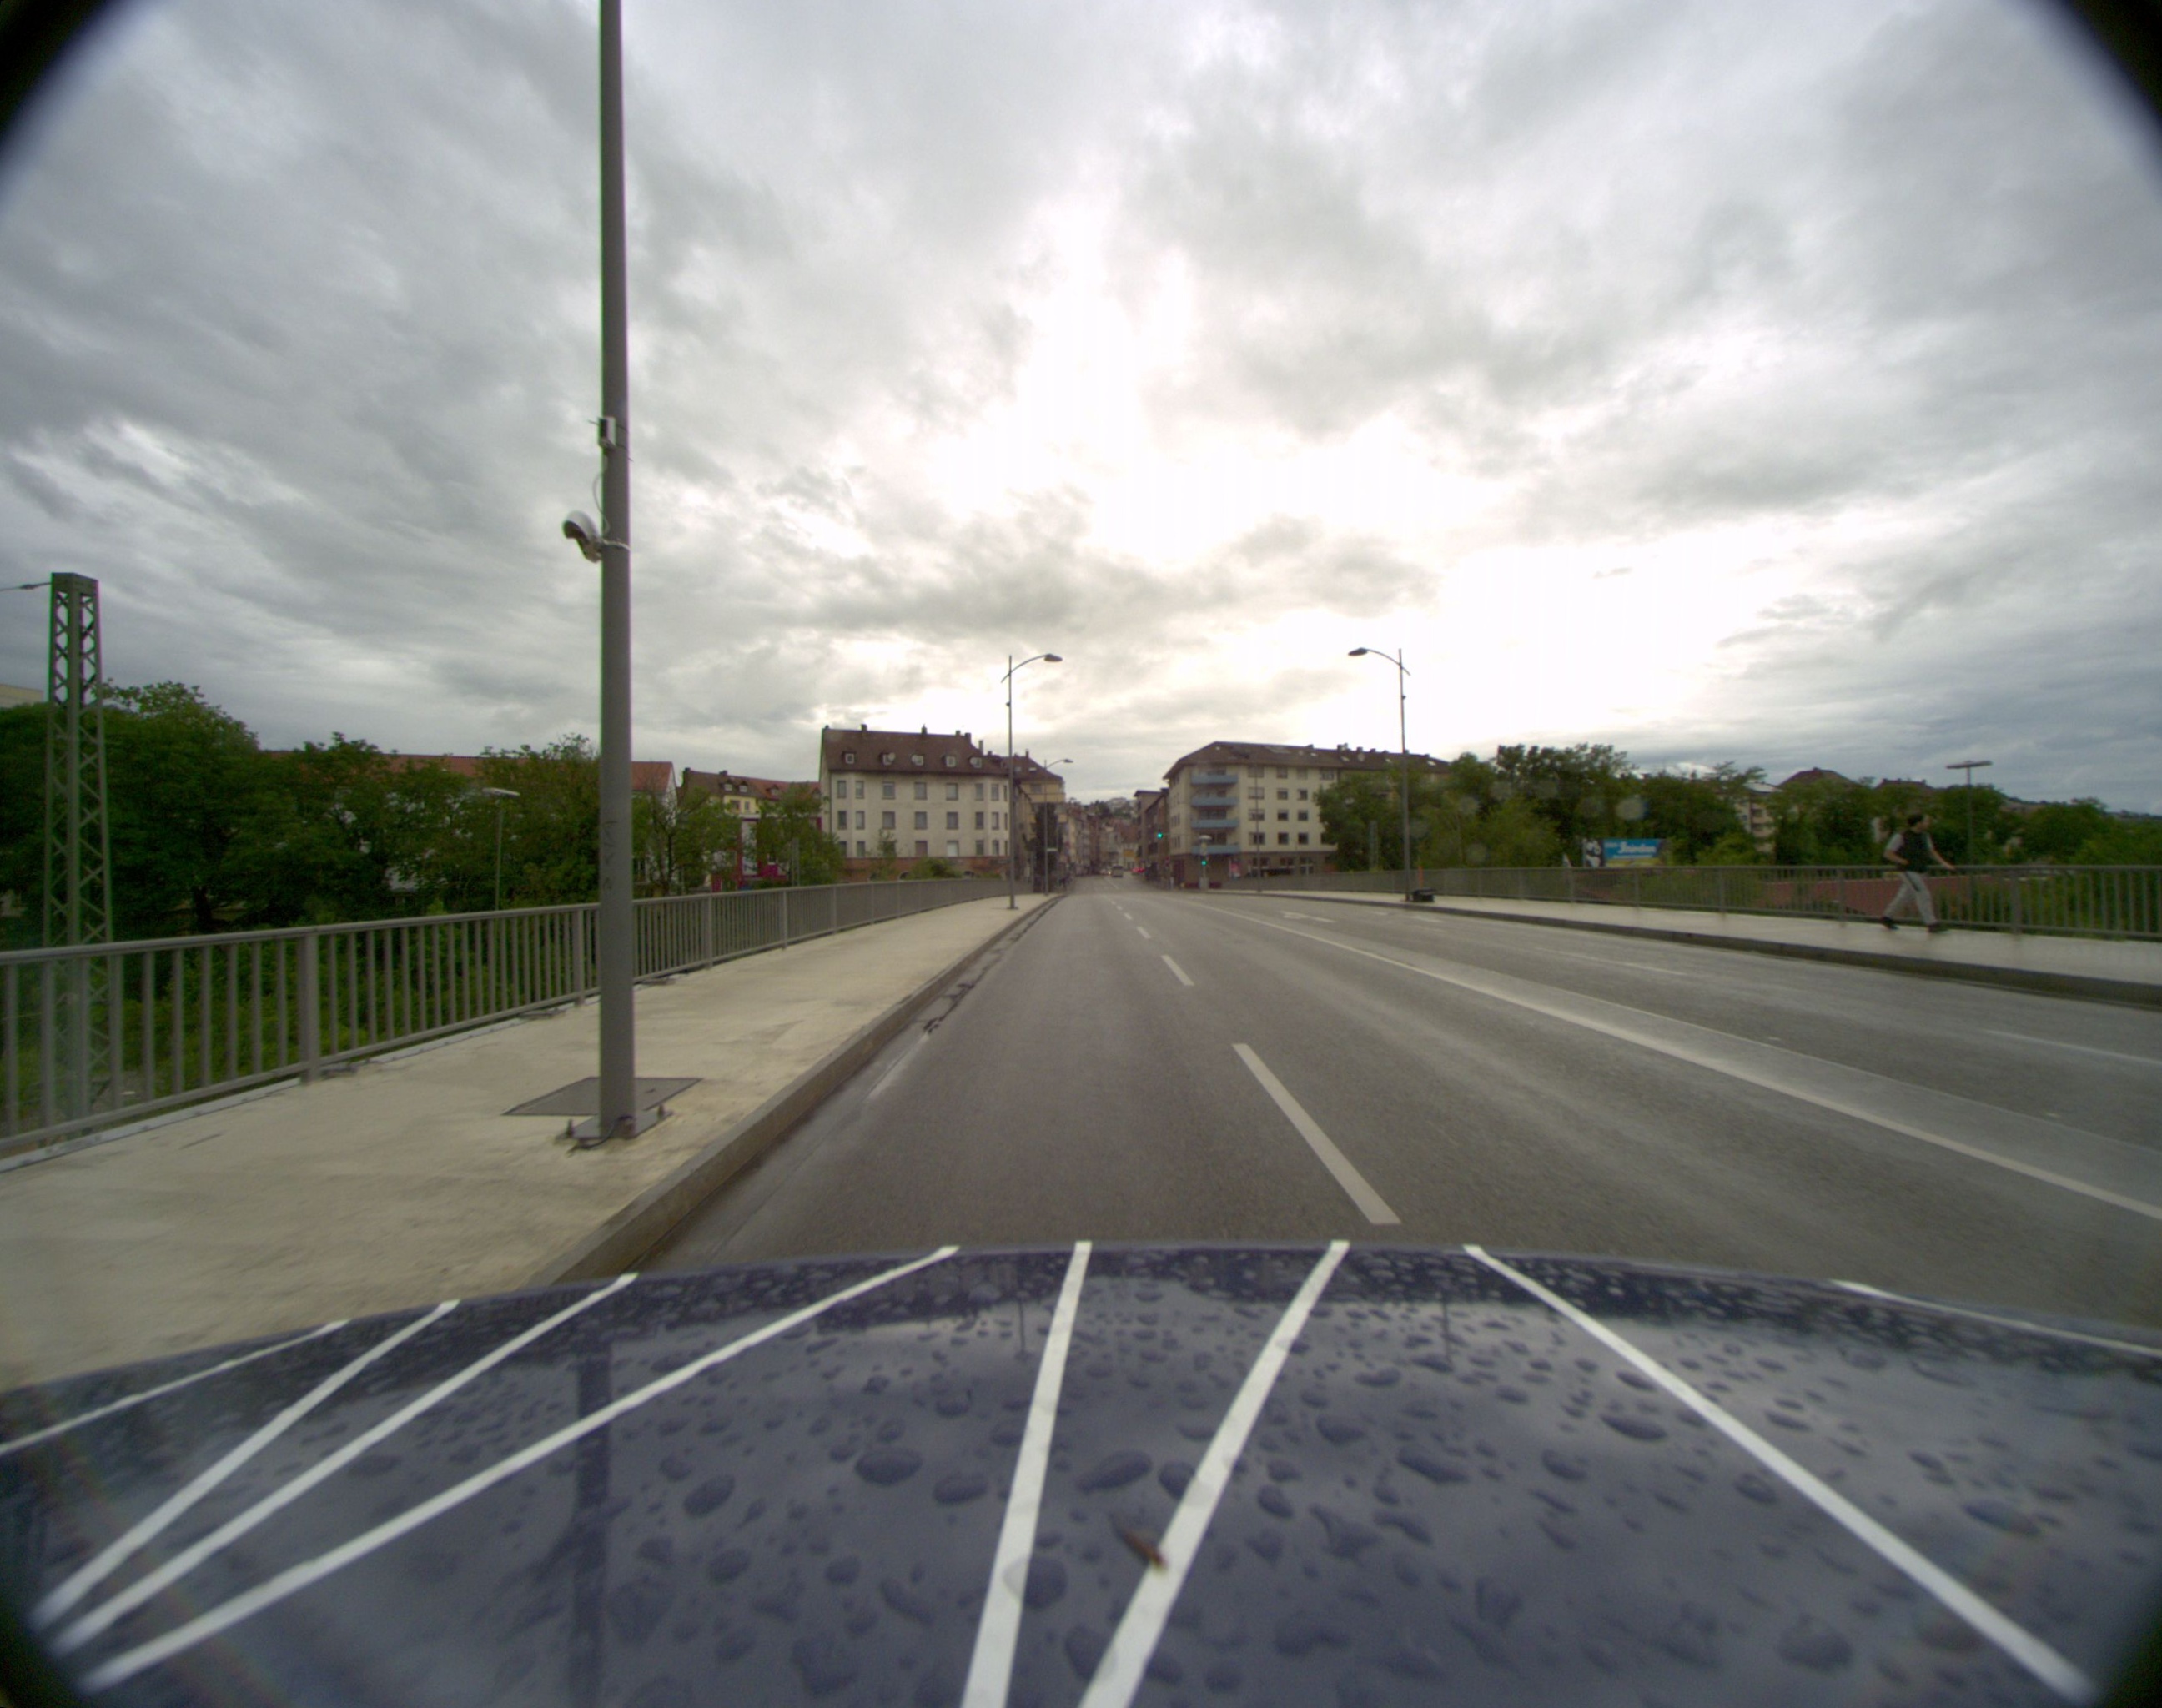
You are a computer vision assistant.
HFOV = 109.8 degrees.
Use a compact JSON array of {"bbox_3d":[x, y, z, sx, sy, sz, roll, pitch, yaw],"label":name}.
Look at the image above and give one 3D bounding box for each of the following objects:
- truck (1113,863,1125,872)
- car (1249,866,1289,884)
[{"bbox_3d":[8.924,3.084,177.176,2.475,2.002,4.820,-2,0,1],"label":"truck"},{"bbox_3d":[23.291,2.574,94.291,4.359,2.001,2.131,-2,-1,-20],"label":"car"}]
